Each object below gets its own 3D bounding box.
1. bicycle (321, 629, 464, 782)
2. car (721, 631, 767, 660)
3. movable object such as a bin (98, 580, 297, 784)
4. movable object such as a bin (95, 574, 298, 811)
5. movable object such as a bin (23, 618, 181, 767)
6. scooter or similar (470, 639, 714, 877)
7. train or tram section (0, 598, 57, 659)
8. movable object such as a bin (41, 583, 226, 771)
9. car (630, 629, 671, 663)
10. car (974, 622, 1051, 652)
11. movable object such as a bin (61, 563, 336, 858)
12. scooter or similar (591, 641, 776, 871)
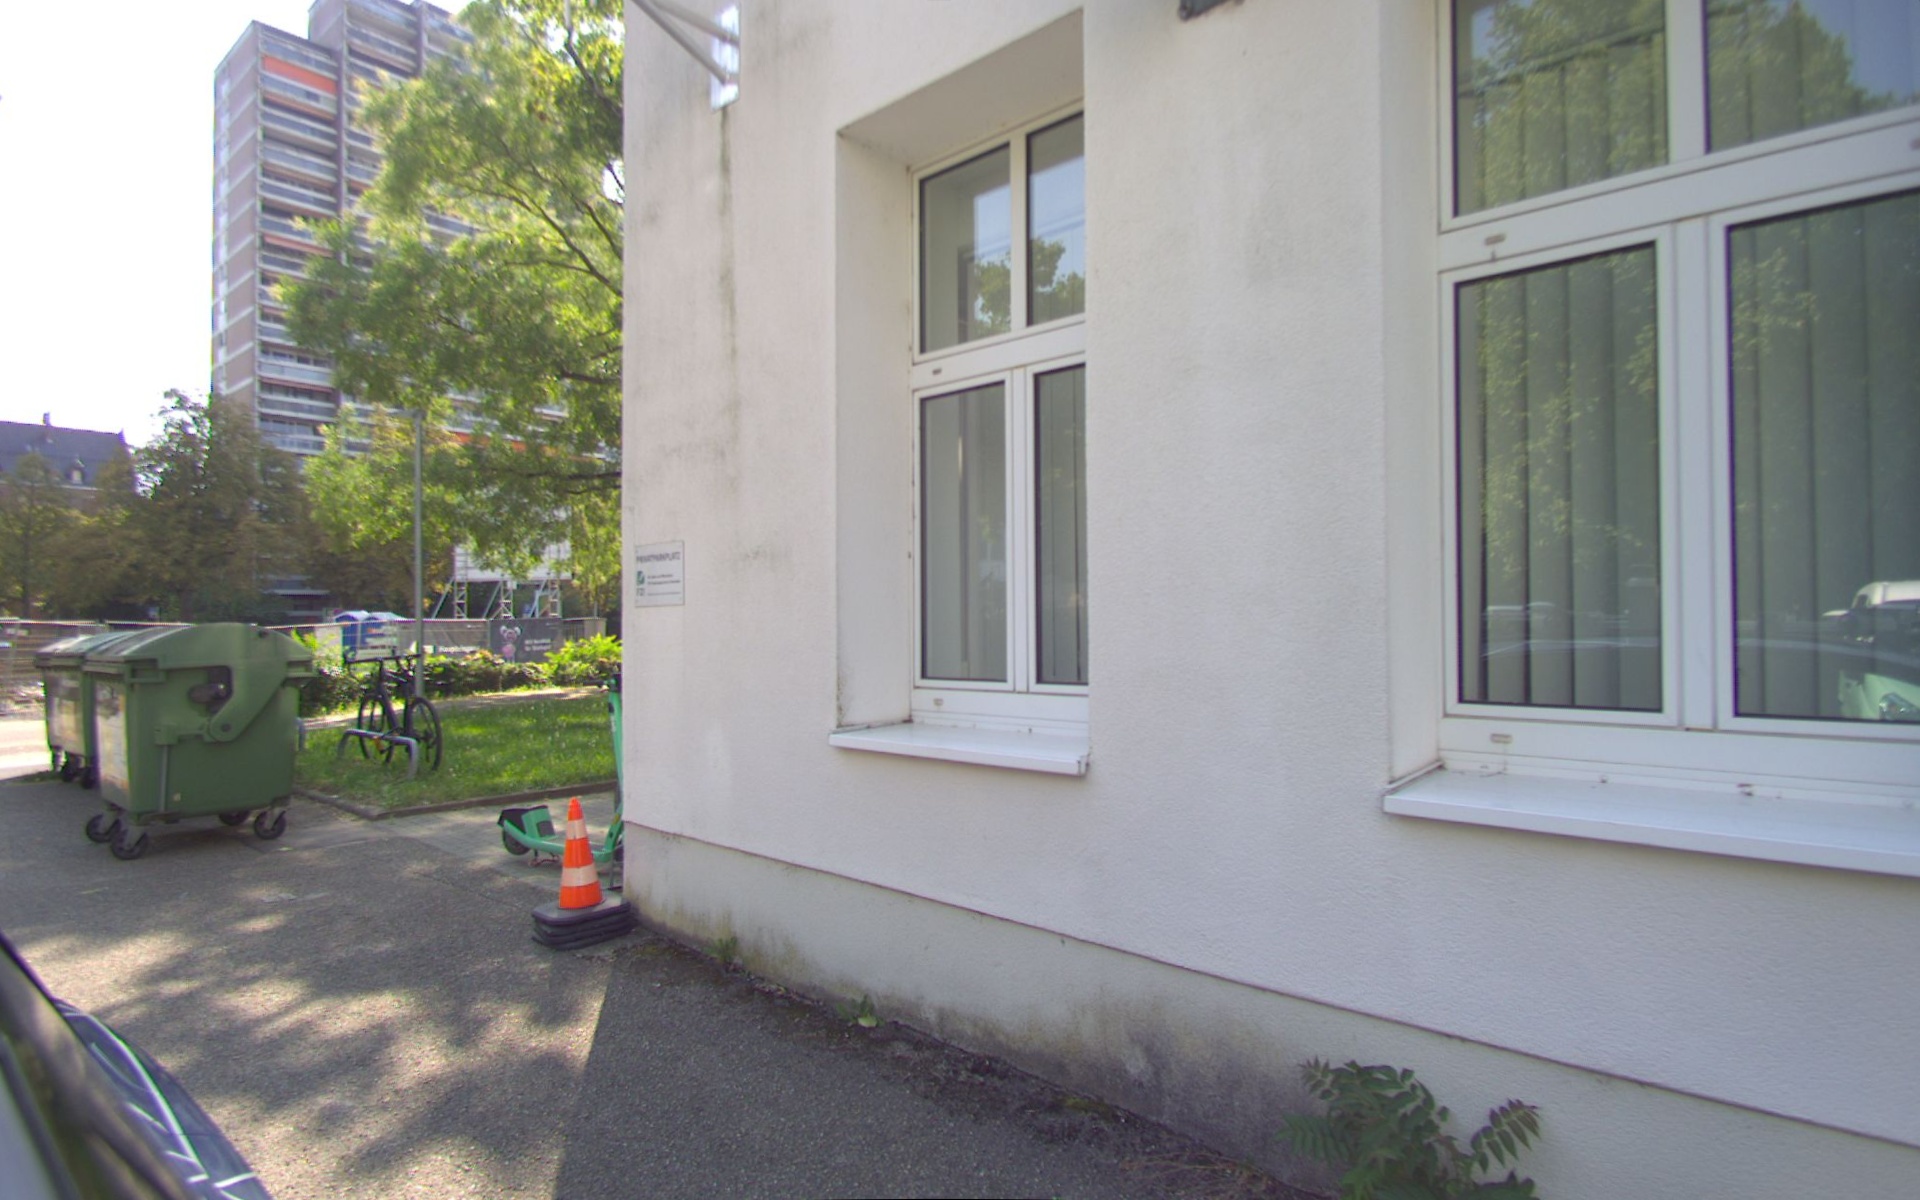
[{"bbox_3d":[-5.118,0.878,9.063,2.007,1.222,0.471,-1,-1,41],"label":"bicycle"},{"bbox_3d":[-12.370,2.576,57.904,1.833,1.555,4.013,0,-1,-23],"label":"car"},{"bbox_3d":[-7.079,0.700,9.402,1.375,1.718,1.169,-1,-1,38],"label":"movable object such as a bin"},{"bbox_3d":[-6.226,0.680,8.244,1.167,1.718,1.396,0,-1,-44],"label":"movable object such as a bin"},{"bbox_3d":[-9.352,0.959,11.047,1.103,1.509,1.026,-1,-1,31],"label":"movable object such as a bin"},{"bbox_3d":[-2.179,0.875,5.948,1.485,1.272,0.383,-1,-1,23],"label":"scooter or similar"},{"bbox_3d":[-62.958,1.833,62.791,14.451,3.599,2.744,-1,-2,14],"label":"train or tram section"},{"bbox_3d":[-8.286,0.718,10.149,1.375,1.718,1.169,-1,-1,38],"label":"movable object such as a bin"},{"bbox_3d":[-17.999,2.632,58.790,1.833,1.918,4.013,0,-1,-23],"label":"car"},{"bbox_3d":[2.667,1.900,52.080,1.767,1.431,4.008,0,-2,-37],"label":"car"},{"bbox_3d":[-5.106,0.654,6.795,1.375,1.718,1.169,-1,-1,38],"label":"movable object such as a bin"},{"bbox_3d":[-1.735,0.890,6.224,1.495,1.240,0.321,-1,-1,41],"label":"scooter or similar"}]
